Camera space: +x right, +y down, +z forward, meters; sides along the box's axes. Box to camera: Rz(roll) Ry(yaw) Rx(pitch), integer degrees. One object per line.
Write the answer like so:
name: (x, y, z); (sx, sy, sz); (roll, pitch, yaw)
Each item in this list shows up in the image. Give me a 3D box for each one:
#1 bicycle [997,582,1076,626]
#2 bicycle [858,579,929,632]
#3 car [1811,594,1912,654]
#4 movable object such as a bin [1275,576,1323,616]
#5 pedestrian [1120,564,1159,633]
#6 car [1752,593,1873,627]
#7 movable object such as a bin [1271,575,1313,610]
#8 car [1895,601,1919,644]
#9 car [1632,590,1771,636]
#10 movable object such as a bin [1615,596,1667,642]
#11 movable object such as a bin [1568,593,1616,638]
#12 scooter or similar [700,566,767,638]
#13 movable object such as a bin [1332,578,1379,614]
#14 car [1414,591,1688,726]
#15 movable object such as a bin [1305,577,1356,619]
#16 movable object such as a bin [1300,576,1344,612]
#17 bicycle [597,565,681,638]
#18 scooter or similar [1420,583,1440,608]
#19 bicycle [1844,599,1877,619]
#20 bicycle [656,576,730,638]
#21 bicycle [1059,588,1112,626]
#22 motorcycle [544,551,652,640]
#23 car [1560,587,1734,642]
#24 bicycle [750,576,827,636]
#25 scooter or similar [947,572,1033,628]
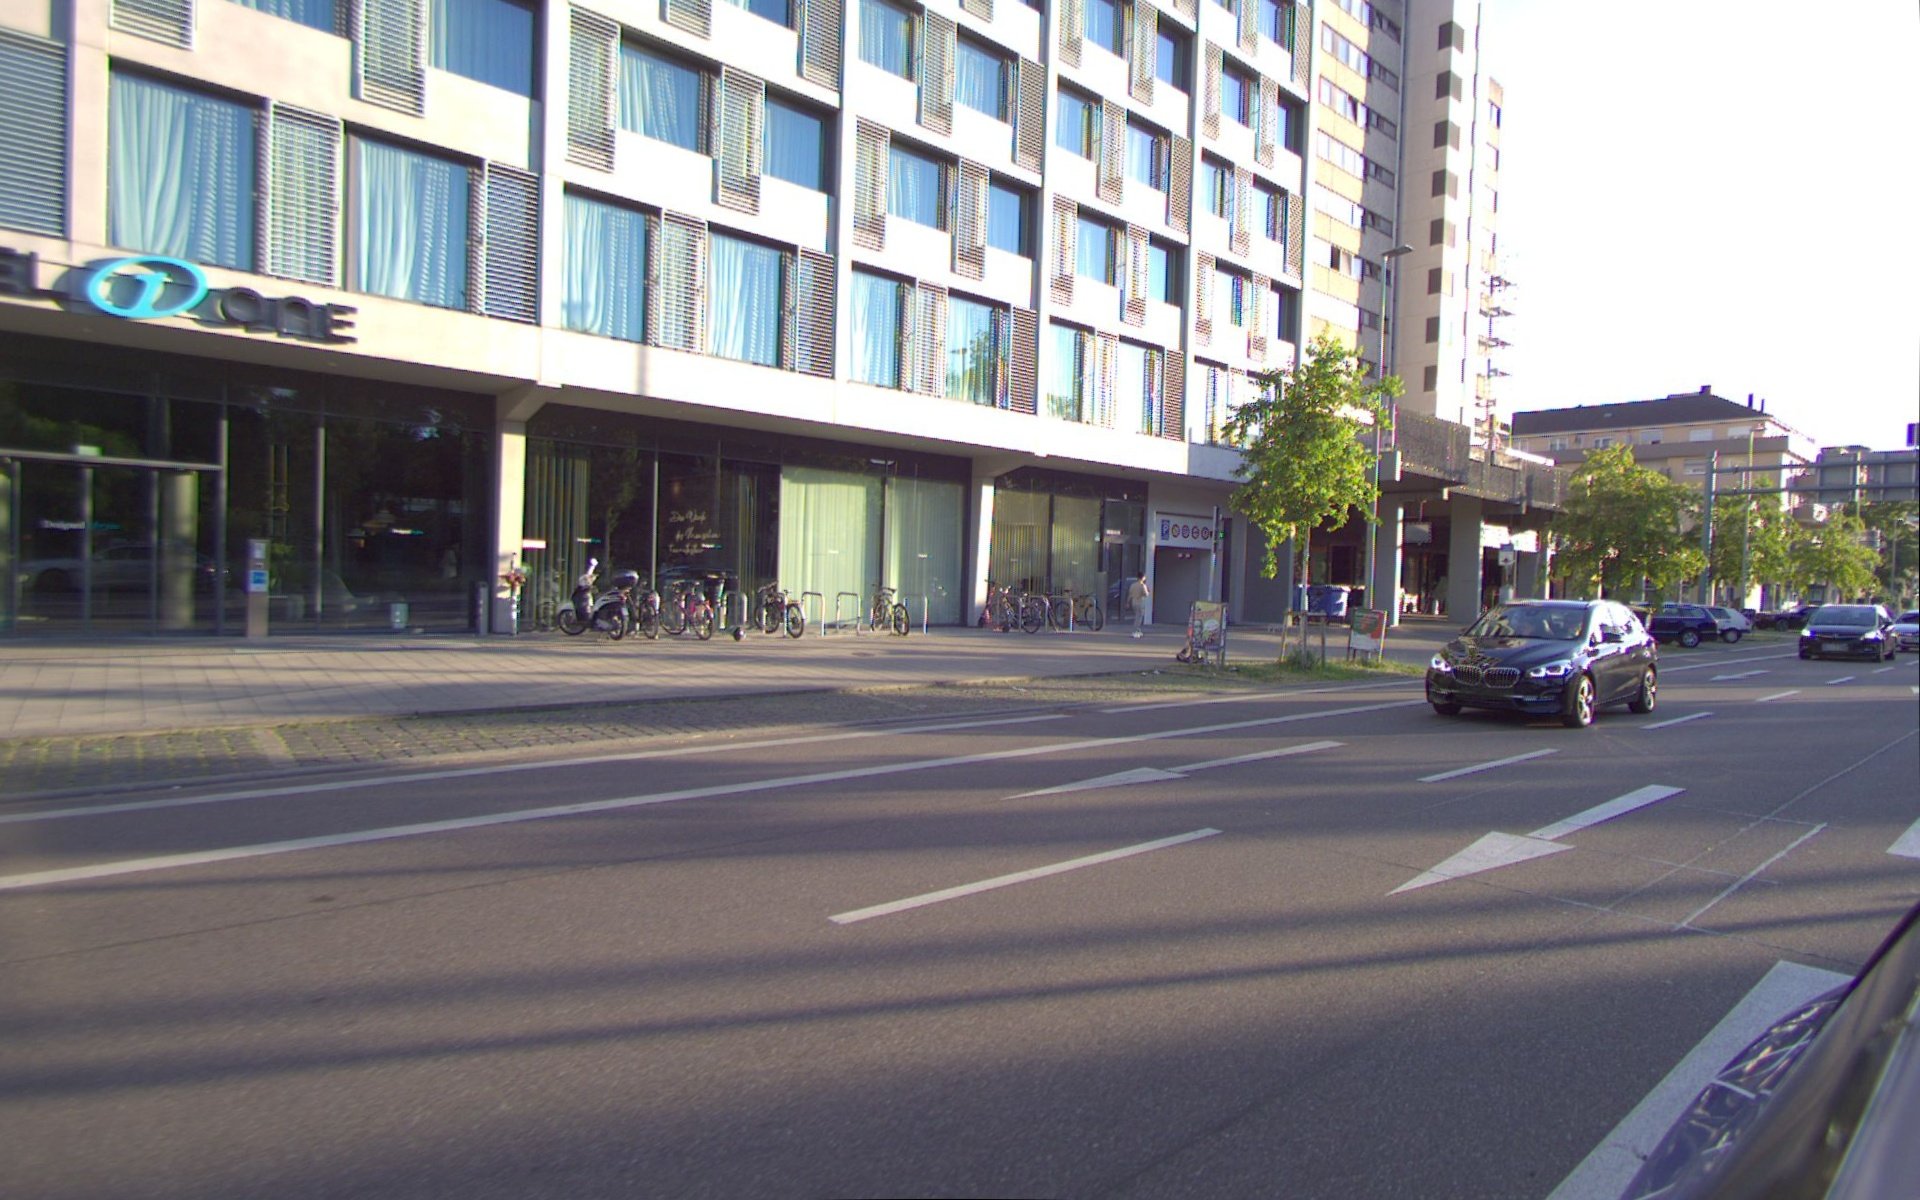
bicycle: (1.905, 0.087, 25.472); (2.016, 0.969, 0.611); (5, 3, 44)
bicycle: (-1.454, 0.104, 21.848); (0.541, 0.998, 1.702); (1, 4, -43)
car: (26.272, 0.664, 29.434); (4.293, 1.619, 1.825); (1, 0, -43)
movable object such as a bin: (11.848, -0.140, 35.369); (1.181, 1.346, 1.076); (1, 2, -41)
pedestrian: (4.377, -0.045, 24.681); (0.632, 1.638, 0.577); (1, 3, -43)
car: (45.370, 0.508, 53.934); (4.531, 1.471, 1.810); (4, 2, 9)
movable object such as a bin: (13.245, -0.290, 40.333); (1.069, 1.329, 1.184); (1, 2, -42)
car: (34.560, 0.786, 35.755); (4.228, 1.482, 1.831); (1, 0, -42)
car: (29.267, 0.495, 40.061); (3.930, 1.433, 1.746); (4, 3, 12)
movable object such as a bin: (21.461, 0.575, 31.908); (1.085, 1.317, 1.340); (6, 4, 43)
movable object such as a bin: (20.530, 0.501, 32.867); (1.015, 1.363, 1.142); (7, 4, 45)
scooter or similar: (-4.220, 0.024, 18.834); (0.598, 1.248, 1.269); (1, 3, -44)
movable object such as a bin: (15.021, -0.163, 38.414); (1.282, 1.315, 1.184); (1, 2, -42)
car: (8.208, 0.678, 13.859); (4.707, 1.538, 1.824); (1, 0, -41)
movable object such as a bin: (12.672, -0.067, 34.580); (1.261, 1.346, 1.107); (1, 3, -41)
movable object such as a bin: (14.090, -0.237, 39.422); (1.105, 1.329, 1.184); (1, 2, -42)
bicycle: (-5.789, 0.011, 18.194); (1.604, 1.168, 0.604); (5, 3, 38)
scooter or similar: (22.457, -0.207, 48.351); (0.400, 1.175, 1.804); (0, -1, 39)
bicycle: (57.851, 0.568, 65.063); (0.810, 1.187, 2.133); (3, 2, 21)
bicycle: (-4.961, 0.112, 18.743); (0.541, 0.998, 1.702); (1, 3, -43)
bicycle: (3.236, 0.166, 26.166); (0.449, 0.902, 1.424); (1, 2, -41)
motorcycle: (-6.354, -0.101, 17.705); (2.106, 1.403, 0.663); (5, 2, 36)
car: (24.275, 0.488, 35.948); (4.595, 1.526, 1.935); (4, 3, 11)
bicycle: (-3.431, 0.100, 20.125); (0.556, 1.022, 1.889); (1, 4, -42)
scooter or similar: (0.695, -0.020, 24.482); (0.610, 1.197, 2.378); (1, 3, -41)
